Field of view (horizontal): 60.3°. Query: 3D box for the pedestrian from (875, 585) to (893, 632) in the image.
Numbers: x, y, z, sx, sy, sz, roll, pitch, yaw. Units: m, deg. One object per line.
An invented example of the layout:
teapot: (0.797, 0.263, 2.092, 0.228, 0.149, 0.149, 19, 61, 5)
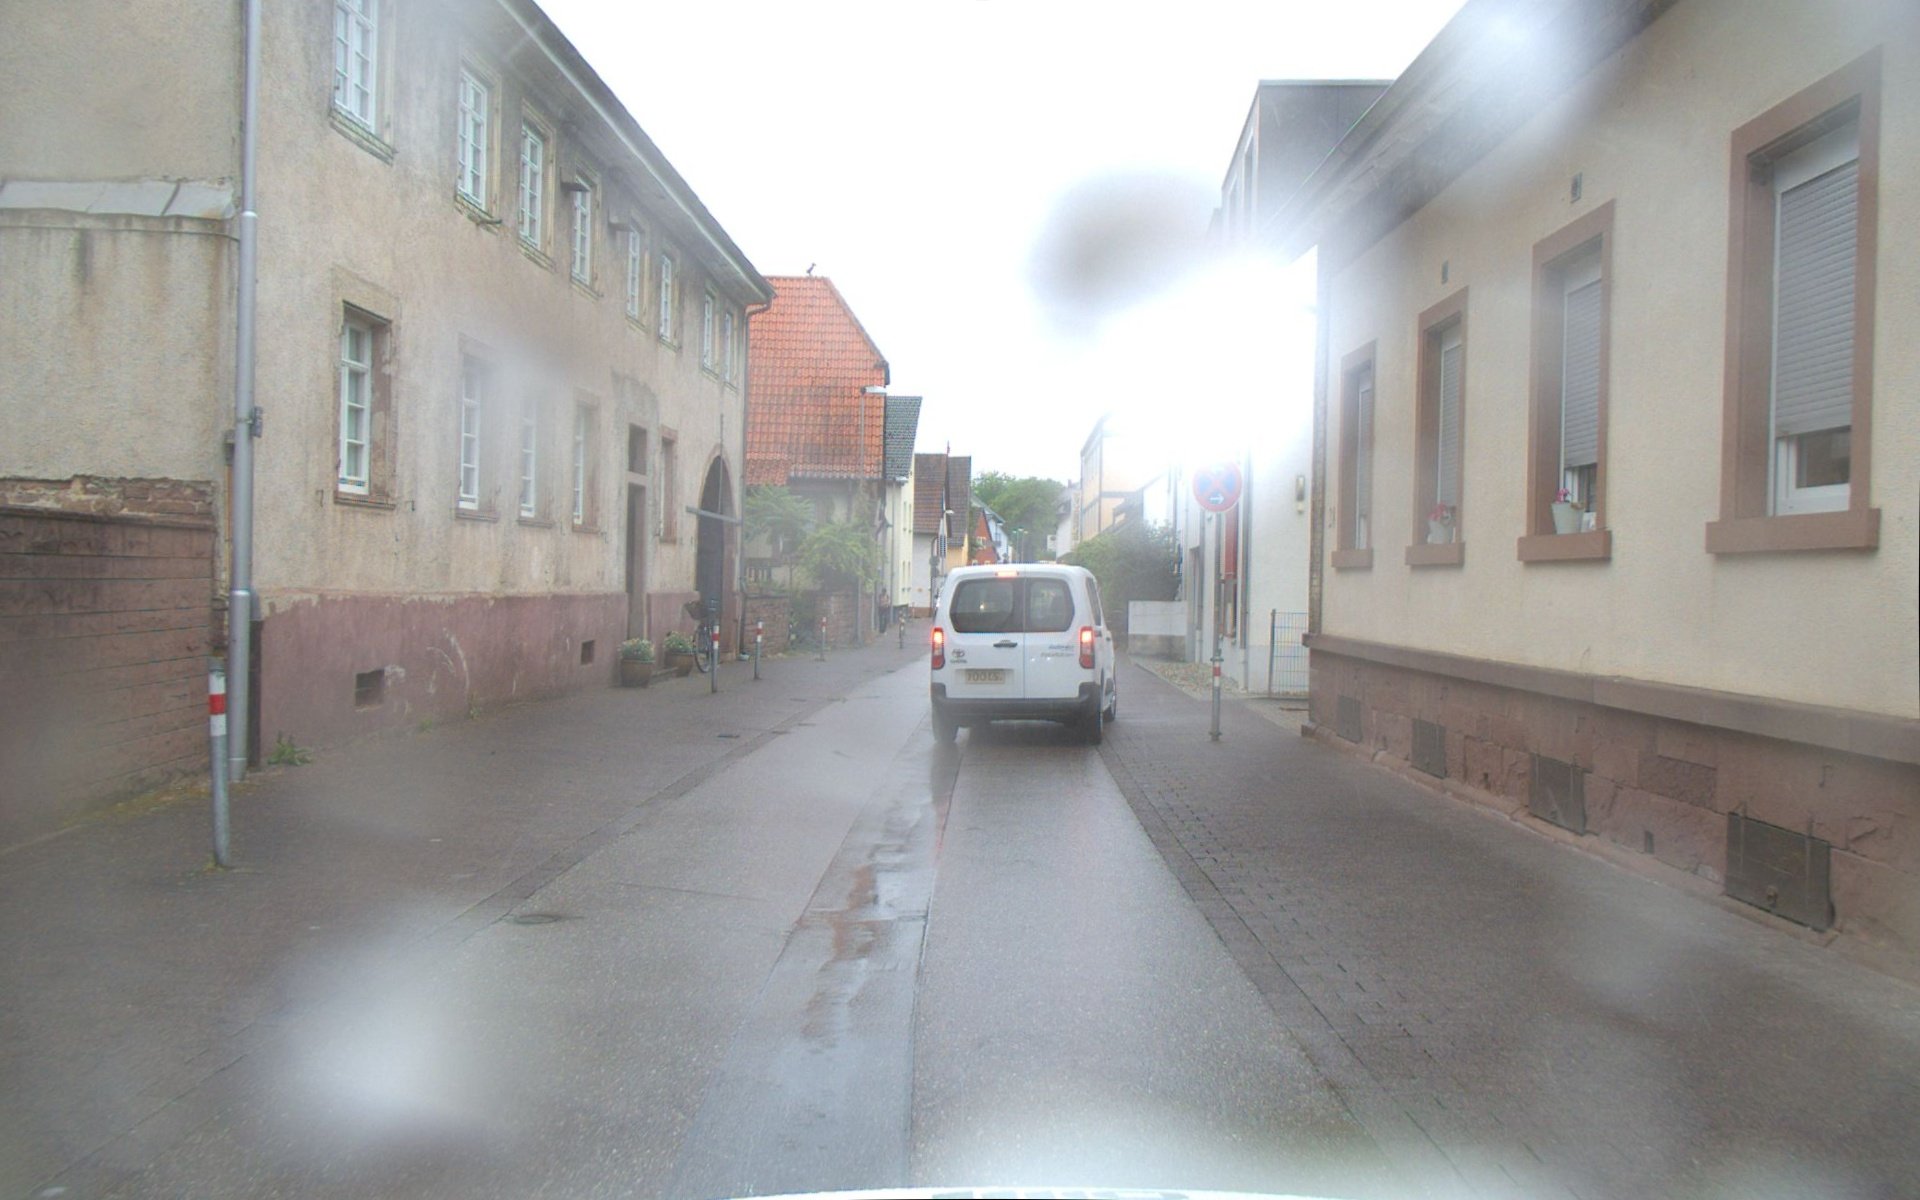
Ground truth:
pedestrian: (-2.524, 0.285, 55.201, 0.556, 1.557, 0.568, 0, 0, -7)

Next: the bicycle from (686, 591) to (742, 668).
bicycle: (-4.014, 0.469, 27.059, 0.473, 1.200, 1.836, 2, 0, 4)

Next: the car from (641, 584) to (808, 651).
car: (-5.301, 0.373, 37.488, 3.453, 1.400, 1.595, 1, 0, 4)

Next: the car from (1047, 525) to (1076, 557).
car: (7.145, -4.129, 116.435, 1.952, 2.049, 4.002, 2, 0, 3)

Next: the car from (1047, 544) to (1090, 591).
car: (5.060, -1.494, 77.369, 1.789, 2.049, 3.695, 2, 0, 2)

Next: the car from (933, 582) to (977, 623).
car: (-0.235, 0.135, 86.508, 1.853, 2.001, 4.725, 2, 0, 4)

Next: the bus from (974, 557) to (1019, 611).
bus: (2.561, -1.025, 113.432, 2.735, 3.387, 8.180, 3, 0, 2)

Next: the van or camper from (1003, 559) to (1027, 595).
van or camper: (4.812, -1.977, 144.103, 1.797, 2.976, 5.365, 2, 0, 4)

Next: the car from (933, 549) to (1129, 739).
car: (0.898, 0.445, 18.288, 1.756, 1.850, 4.105, 0, 0, 8)
